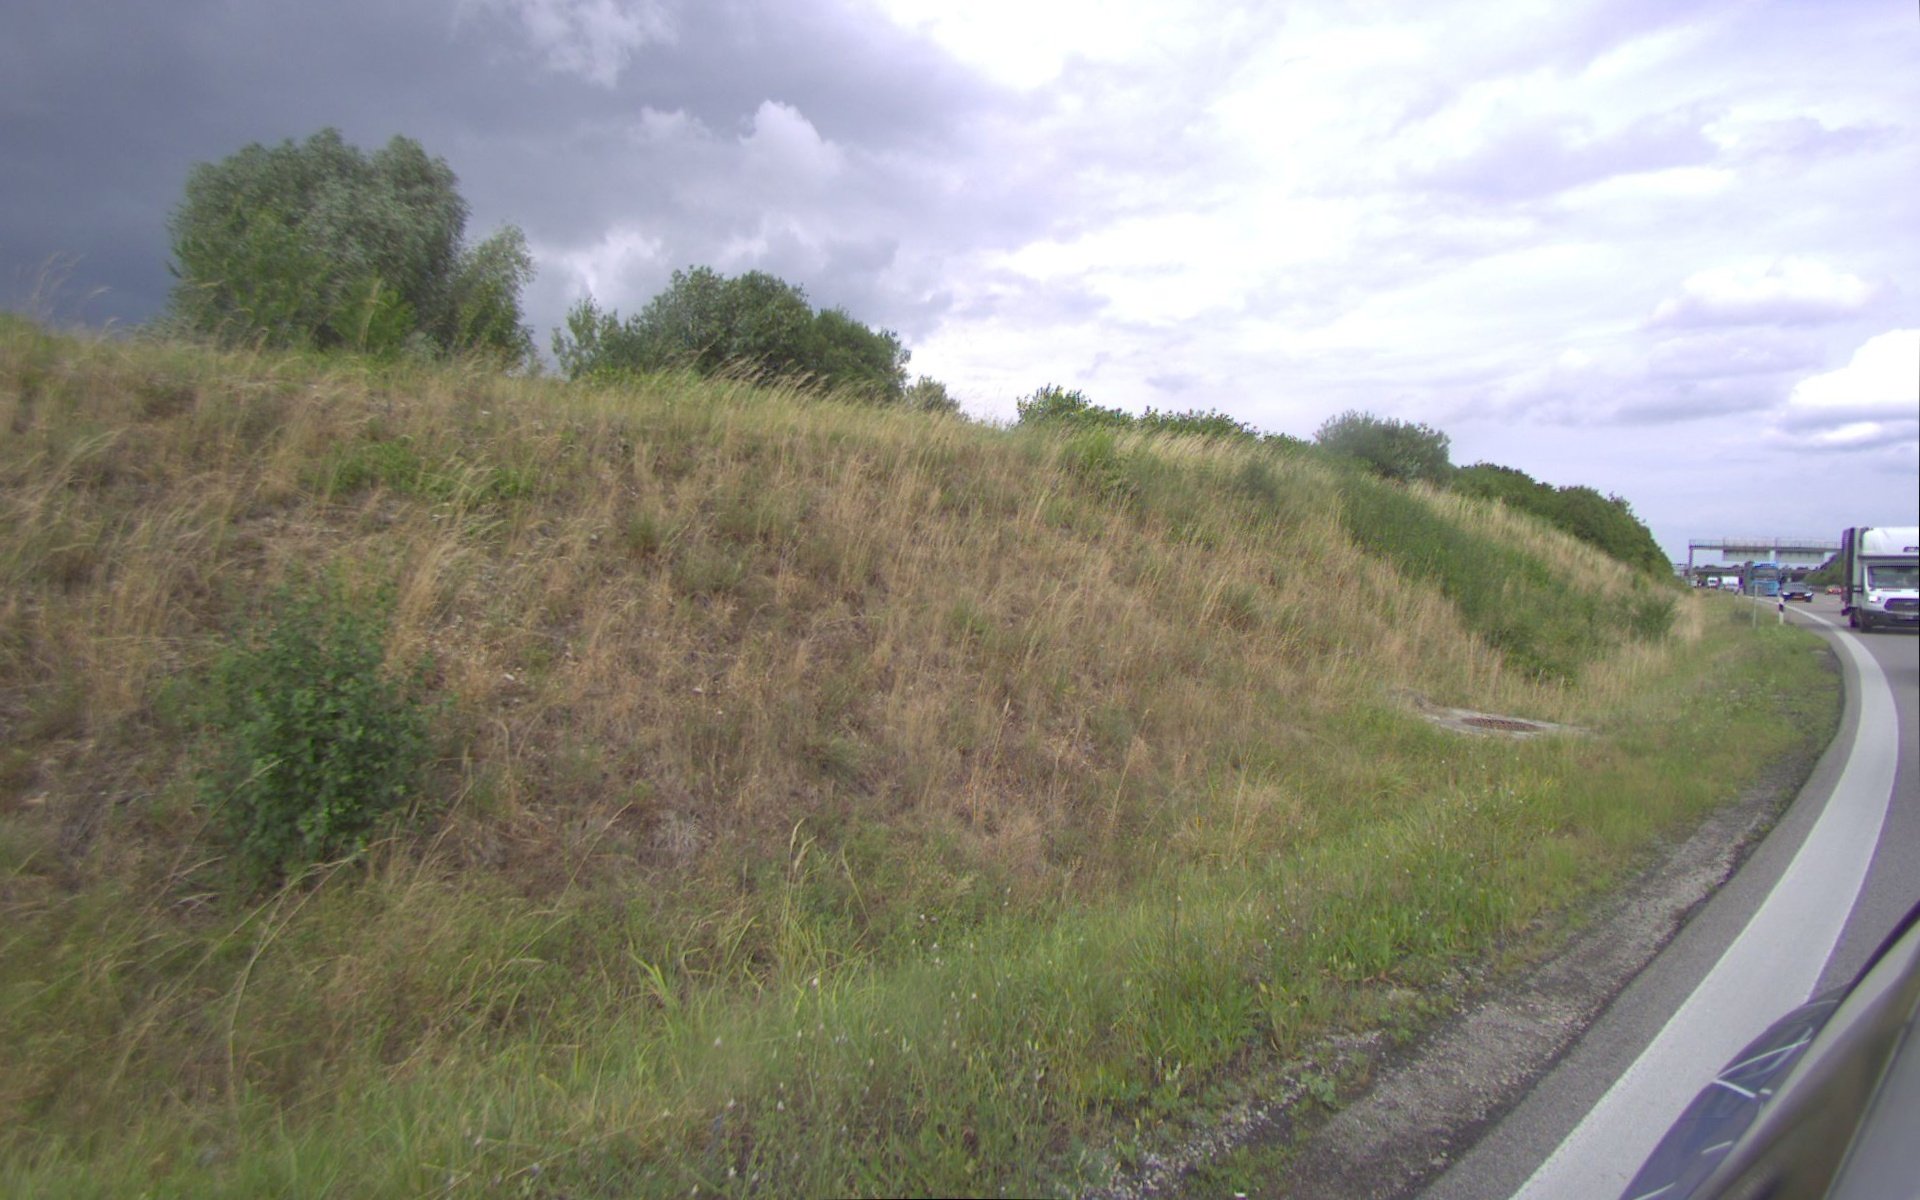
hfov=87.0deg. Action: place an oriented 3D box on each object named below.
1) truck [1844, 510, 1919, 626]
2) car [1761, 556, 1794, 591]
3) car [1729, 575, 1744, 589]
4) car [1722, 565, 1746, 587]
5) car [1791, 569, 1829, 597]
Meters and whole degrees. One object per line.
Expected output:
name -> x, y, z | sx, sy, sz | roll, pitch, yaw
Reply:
truck -> 29.346, -0.956, 31.313 | 2.437, 3.275, 7.096 | 2, 2, 37
car -> 93.047, -3.032, 115.271 | 2.491, 3.756, 7.602 | 2, 2, 36
car -> 124.275, -2.880, 161.981 | 1.921, 2.057, 3.947 | 2, 2, 37
car -> 128.944, -3.969, 168.638 | 2.931, 3.509, 6.485 | 2, 2, 36
car -> 66.436, -1.355, 79.128 | 1.989, 2.038, 3.947 | 2, 2, 37
